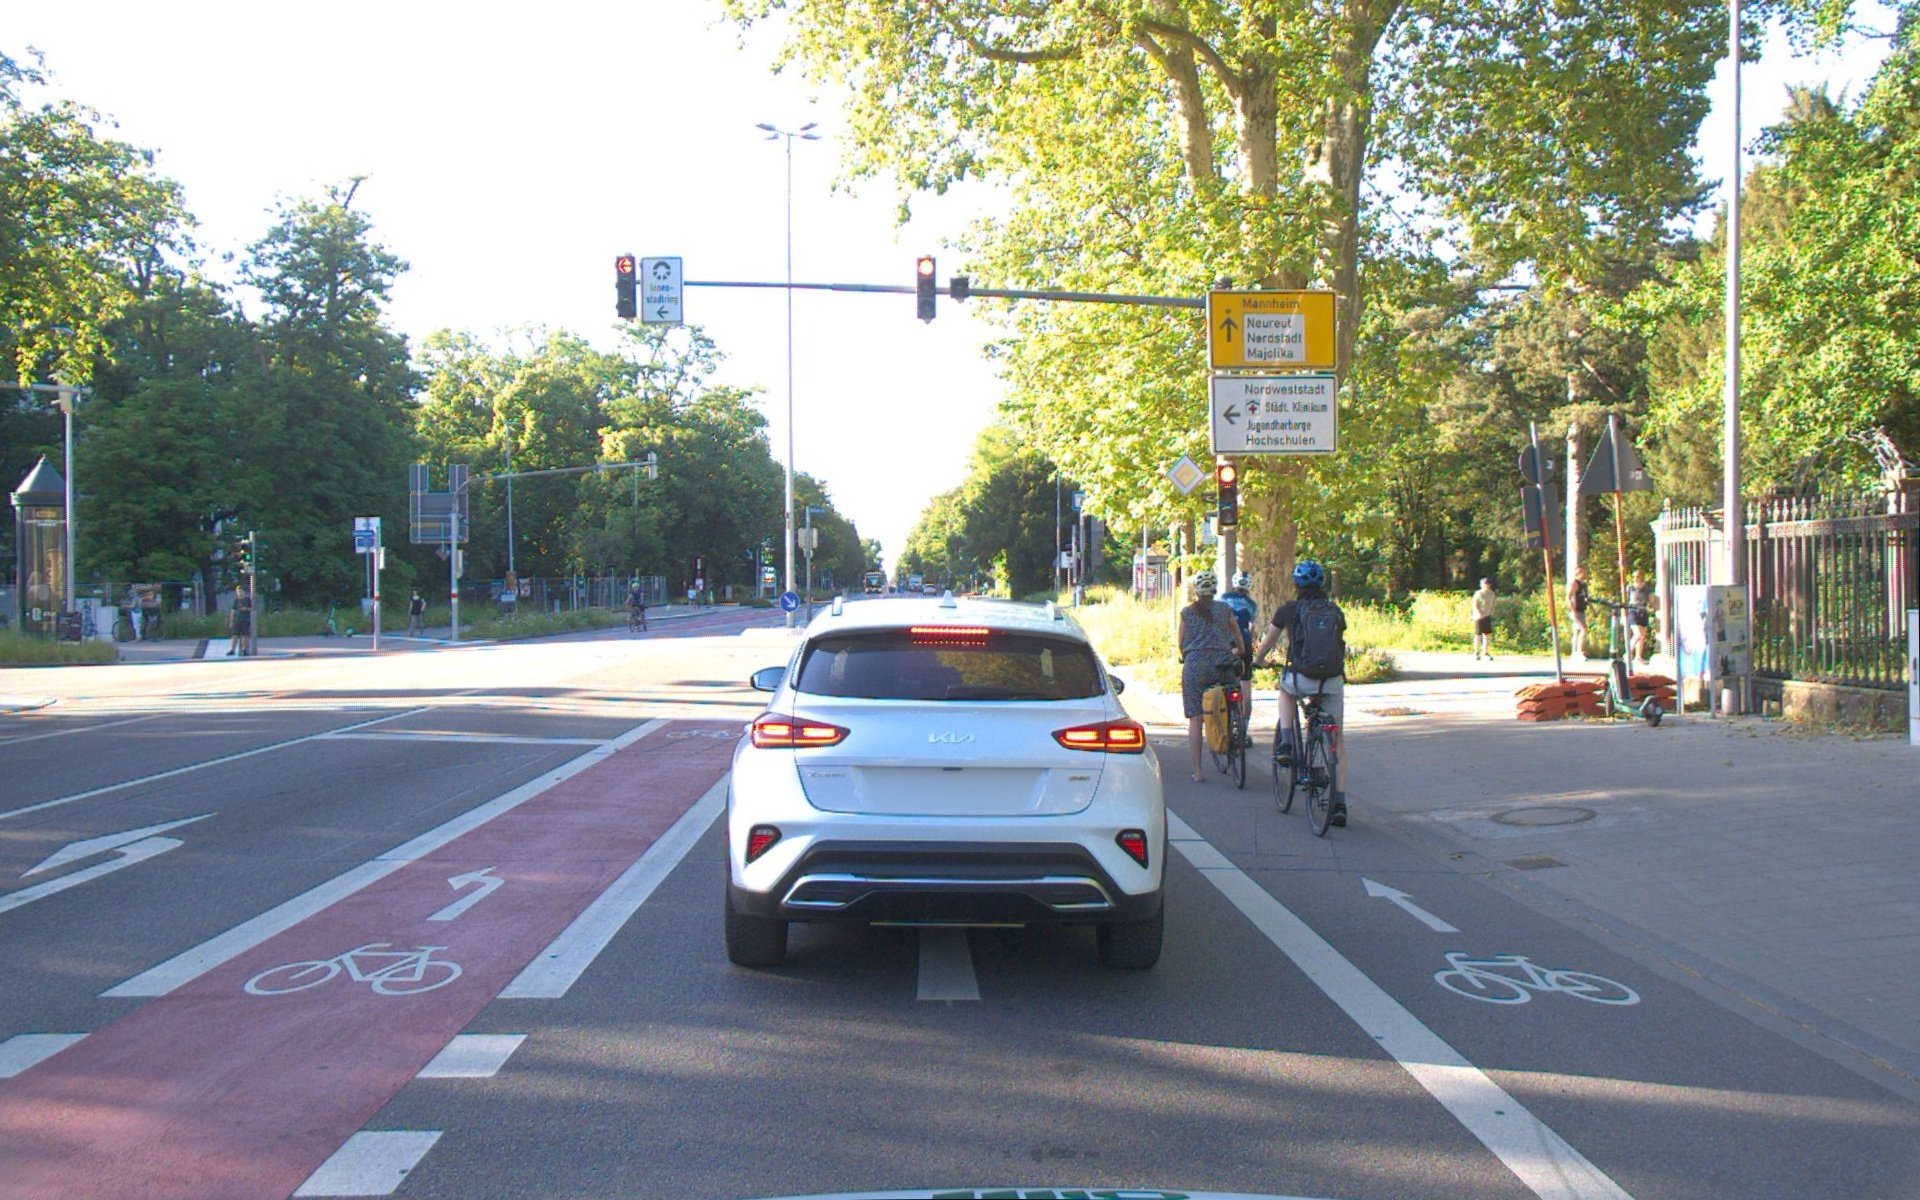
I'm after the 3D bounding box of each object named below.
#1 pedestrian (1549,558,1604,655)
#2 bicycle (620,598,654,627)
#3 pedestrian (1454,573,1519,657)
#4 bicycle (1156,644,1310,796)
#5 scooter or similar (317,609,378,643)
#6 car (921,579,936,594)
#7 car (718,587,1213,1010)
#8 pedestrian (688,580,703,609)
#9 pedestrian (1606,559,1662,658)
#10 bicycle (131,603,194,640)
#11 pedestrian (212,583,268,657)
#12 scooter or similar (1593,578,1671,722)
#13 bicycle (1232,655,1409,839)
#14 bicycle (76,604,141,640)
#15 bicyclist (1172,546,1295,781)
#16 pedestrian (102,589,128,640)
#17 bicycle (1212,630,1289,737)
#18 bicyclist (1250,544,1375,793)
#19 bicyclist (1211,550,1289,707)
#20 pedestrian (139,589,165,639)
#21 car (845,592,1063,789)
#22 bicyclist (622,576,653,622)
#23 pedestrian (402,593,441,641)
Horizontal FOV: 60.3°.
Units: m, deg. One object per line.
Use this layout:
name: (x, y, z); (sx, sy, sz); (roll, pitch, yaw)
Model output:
pedestrian: (11.654, 0.115, 31.274); (0.800, 1.802, 0.833); (-1, 0, 9)
bicycle: (-11.805, 0.456, 60.511); (0.650, 1.006, 2.504); (-1, 1, 1)
pedestrian: (9.862, 0.274, 30.992); (0.804, 1.544, 0.913); (0, 0, -14)
bicycle: (2.202, 0.936, 13.693); (0.742, 1.031, 2.568); (1, 1, -2)
scooter or similar: (-20.818, 0.878, 56.213); (0.697, 1.144, 1.916); (0, 0, 32)
car: (-4.415, -1.927, 231.083); (1.953, 2.049, 3.999); (-1, 1, -1)
car: (-0.049, 0.695, 7.928); (1.785, 1.506, 3.934); (0, 1, -2)
pedestrian: (-16.270, -0.343, 101.646); (0.769, 1.817, 0.751); (0, 0, 0)
pedestrian: (12.013, 0.140, 29.484); (0.676, 1.729, 0.643); (-1, 0, -7)
bicycle: (-25.869, 0.698, 53.658); (1.826, 1.168, 0.290); (0, 0, -8)
pedestrian: (-20.422, 0.555, 46.942); (0.974, 2.049, 1.191); (0, 0, 4)
scooter or similar: (6.530, 0.462, 16.104); (0.223, 1.350, 1.171); (-1, 0, -2)
bicycle: (2.369, 0.931, 11.130); (0.655, 1.027, 2.080); (1, 1, -2)
bicycle: (-27.729, 0.705, 53.854); (1.826, 1.168, 0.442); (0, 0, -8)
bicyclist: (2.218, 0.491, 13.548); (0.738, 1.827, 1.164); (1, 0, -2)
pedestrian: (-27.360, 0.468, 53.538); (0.617, 1.671, 0.444); (0, 0, -11)
bicycle: (2.909, 0.815, 16.647); (0.393, 0.973, 1.550); (-3, 0, -2)
bicyclist: (2.375, 0.449, 11.217); (0.652, 1.630, 0.720); (1, 0, -2)
bicyclist: (2.900, 0.279, 16.590); (0.543, 1.504, 0.716); (-3, 0, -2)
pedestrian: (-26.009, 0.444, 53.234); (0.617, 1.608, 0.444); (0, 0, -11)
car: (-0.118, 0.706, 14.859); (1.694, 1.509, 3.515); (-1, 1, -3)
bicyclist: (-11.816, -0.047, 60.595); (0.857, 1.636, 1.188); (-1, 0, 1)
pedestrian: (-18.911, 0.579, 58.095); (1.067, 1.631, 0.999); (-1, 0, -7)
